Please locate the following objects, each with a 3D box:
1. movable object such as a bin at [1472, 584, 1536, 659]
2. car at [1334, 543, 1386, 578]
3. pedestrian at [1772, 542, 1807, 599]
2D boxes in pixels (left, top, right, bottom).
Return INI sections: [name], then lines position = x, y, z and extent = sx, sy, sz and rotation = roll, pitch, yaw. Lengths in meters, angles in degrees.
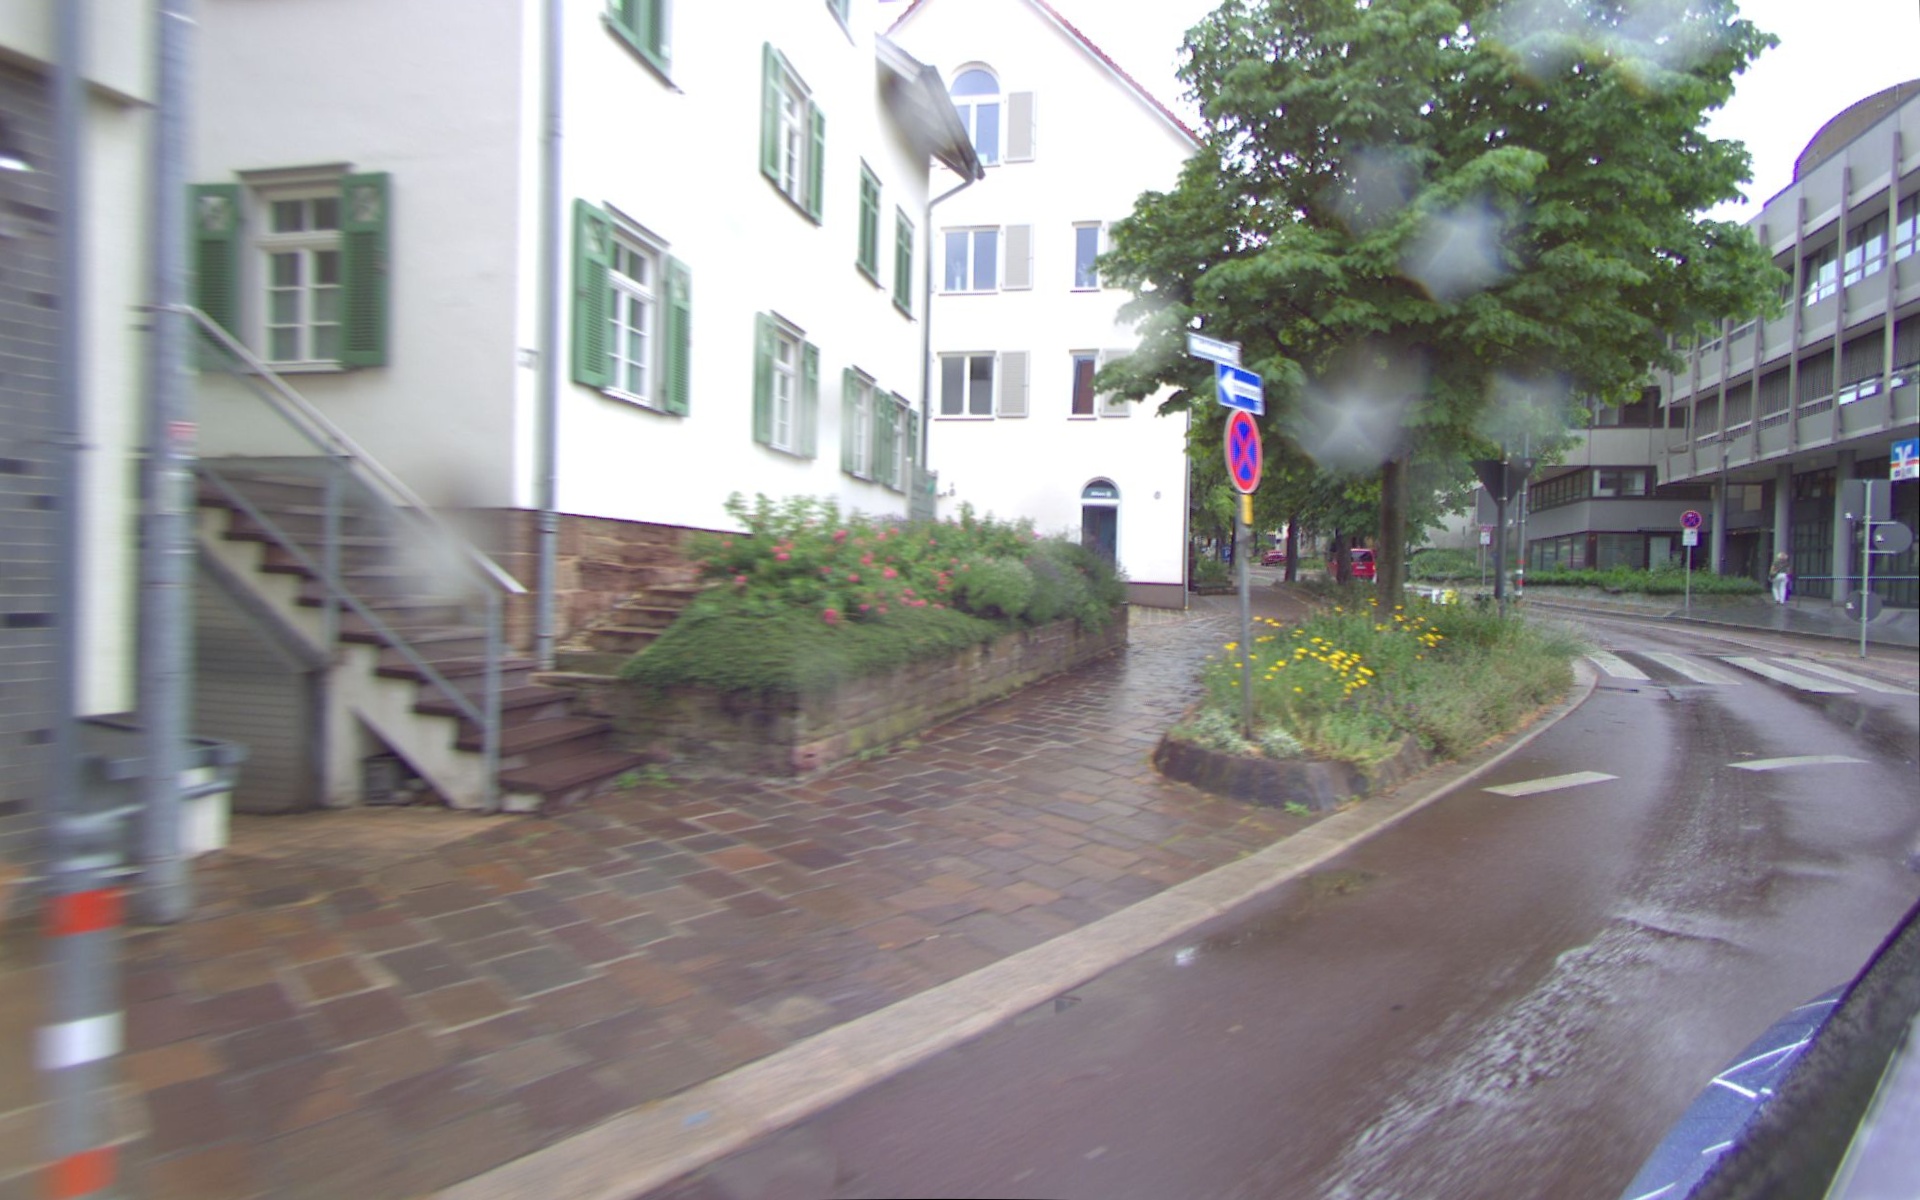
[movable object such as a bin]
position = 8.667, 0.325, 16.150
extent = 0.729, 1.138, 0.647
rotation = 1, 2, 15
[car]
position = 22.745, -2.274, 57.690
extent = 1.838, 1.853, 4.176
rotation = 2, 3, 9
[pedestrian]
position = 27.445, -0.989, 33.493
extent = 0.834, 1.852, 0.803
rotation = 1, 3, 42
